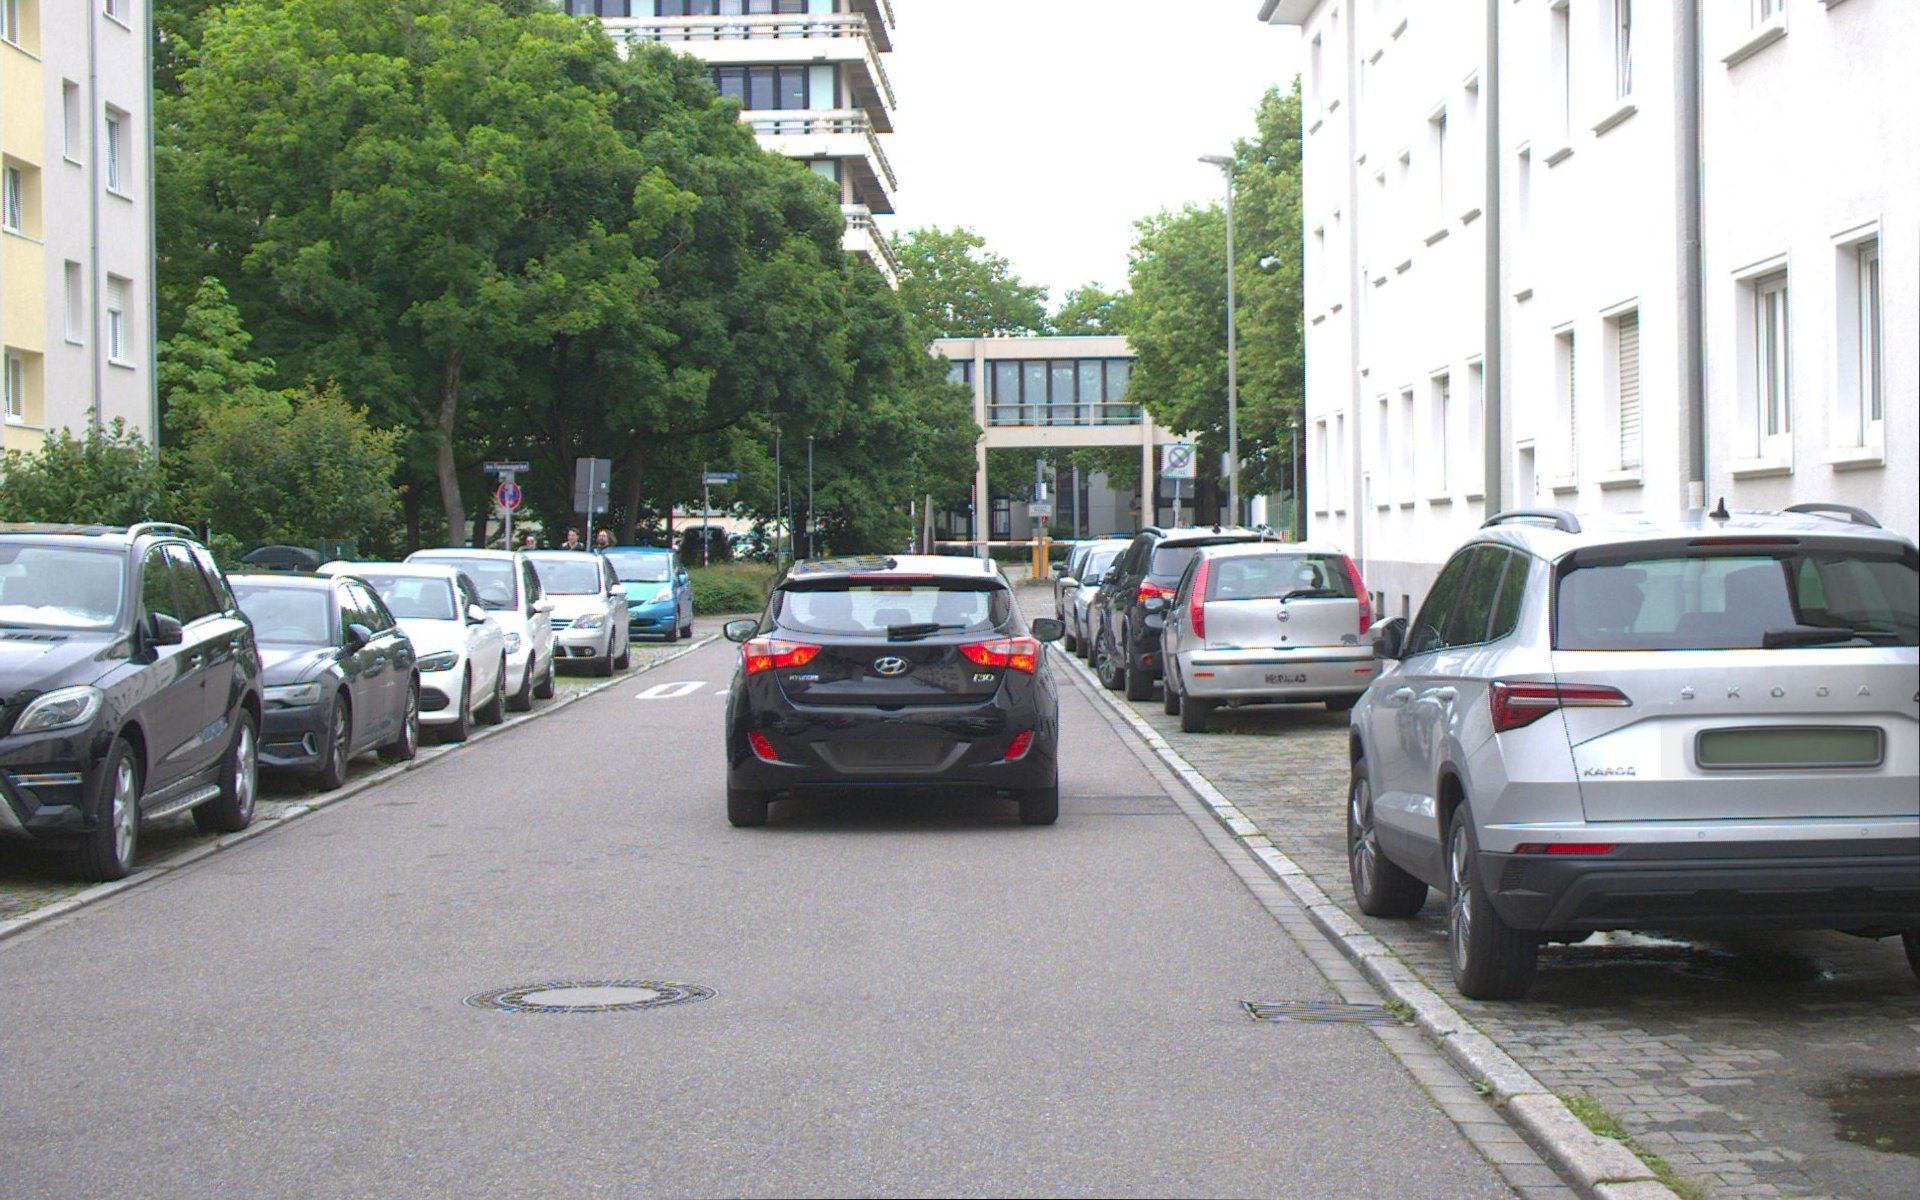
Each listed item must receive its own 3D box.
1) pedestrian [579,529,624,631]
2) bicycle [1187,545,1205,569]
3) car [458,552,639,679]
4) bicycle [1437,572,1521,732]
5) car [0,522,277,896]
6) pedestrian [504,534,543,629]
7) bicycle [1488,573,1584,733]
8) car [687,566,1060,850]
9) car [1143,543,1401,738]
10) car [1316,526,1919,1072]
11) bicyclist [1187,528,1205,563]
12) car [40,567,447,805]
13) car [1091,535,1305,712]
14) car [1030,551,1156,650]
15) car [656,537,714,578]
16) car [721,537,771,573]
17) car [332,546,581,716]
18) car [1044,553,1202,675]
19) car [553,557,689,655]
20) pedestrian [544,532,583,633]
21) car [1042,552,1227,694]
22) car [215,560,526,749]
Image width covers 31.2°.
[{"bbox_3d":[-6.474,-0.363,62.149,0.714,1.825,0.797,0,1,2],"label":"pedestrian"},{"bbox_3d":[9.919,-1.790,144.445,0.693,0.993,1.735,0,1,1],"label":"bicycle"},{"bbox_3d":[-5.243,0.163,44.271,1.993,1.536,4.000,1,1,-2],"label":"car"},{"bbox_3d":[4.048,0.382,26.878,0.530,1.171,2.036,-1,1,6],"label":"bicycle"},{"bbox_3d":[-5.064,0.455,18.358,1.895,1.734,4.475,2,1,0],"label":"car"},{"bbox_3d":[-7.899,-0.333,62.214,0.600,1.707,0.648,0,1,2],"label":"pedestrian"},{"bbox_3d":[4.482,0.387,26.839,0.576,1.171,2.036,-1,1,6],"label":"bicycle"},{"bbox_3d":[-0.424,0.535,19.792,1.903,1.428,4.233,-1,1,1],"label":"car"},{"bbox_3d":[2.523,0.280,28.665,1.820,1.498,4.091,0,1,1],"label":"car"},{"bbox_3d":[2.390,0.571,12.417,1.820,1.636,4.091,0,1,1],"label":"car"},{"bbox_3d":[9.916,-2.295,144.552,0.693,1.439,0.795,0,1,1],"label":"bicyclist"},{"bbox_3d":[-4.969,0.534,24.511,1.895,1.447,4.666,2,1,0],"label":"car"},{"bbox_3d":[2.234,0.179,33.168,1.820,1.597,4.091,0,1,1],"label":"car"},{"bbox_3d":[2.124,-0.010,56.014,1.820,1.514,4.673,-1,0,0],"label":"car"},{"bbox_3d":[-9.174,-1.423,114.863,1.665,1.328,3.396,0,1,0],"label":"car"},{"bbox_3d":[-7.969,-1.683,128.290,1.665,1.328,3.396,0,1,0],"label":"car"},{"bbox_3d":[-5.190,0.273,36.000,1.895,1.593,4.521,2,1,0],"label":"car"},{"bbox_3d":[2.100,0.147,45.486,1.820,1.514,4.674,0,1,-1],"label":"car"},{"bbox_3d":[-5.539,0.069,56.630,1.993,1.536,4.000,1,1,-2],"label":"car"},{"bbox_3d":[-7.199,-0.318,62.468,0.605,1.825,0.675,0,1,2],"label":"pedestrian"},{"bbox_3d":[1.936,0.216,39.451,1.820,1.514,4.674,0,1,-1],"label":"car"},{"bbox_3d":[-5.025,0.412,29.912,1.895,1.447,4.521,2,1,0],"label":"car"}]
